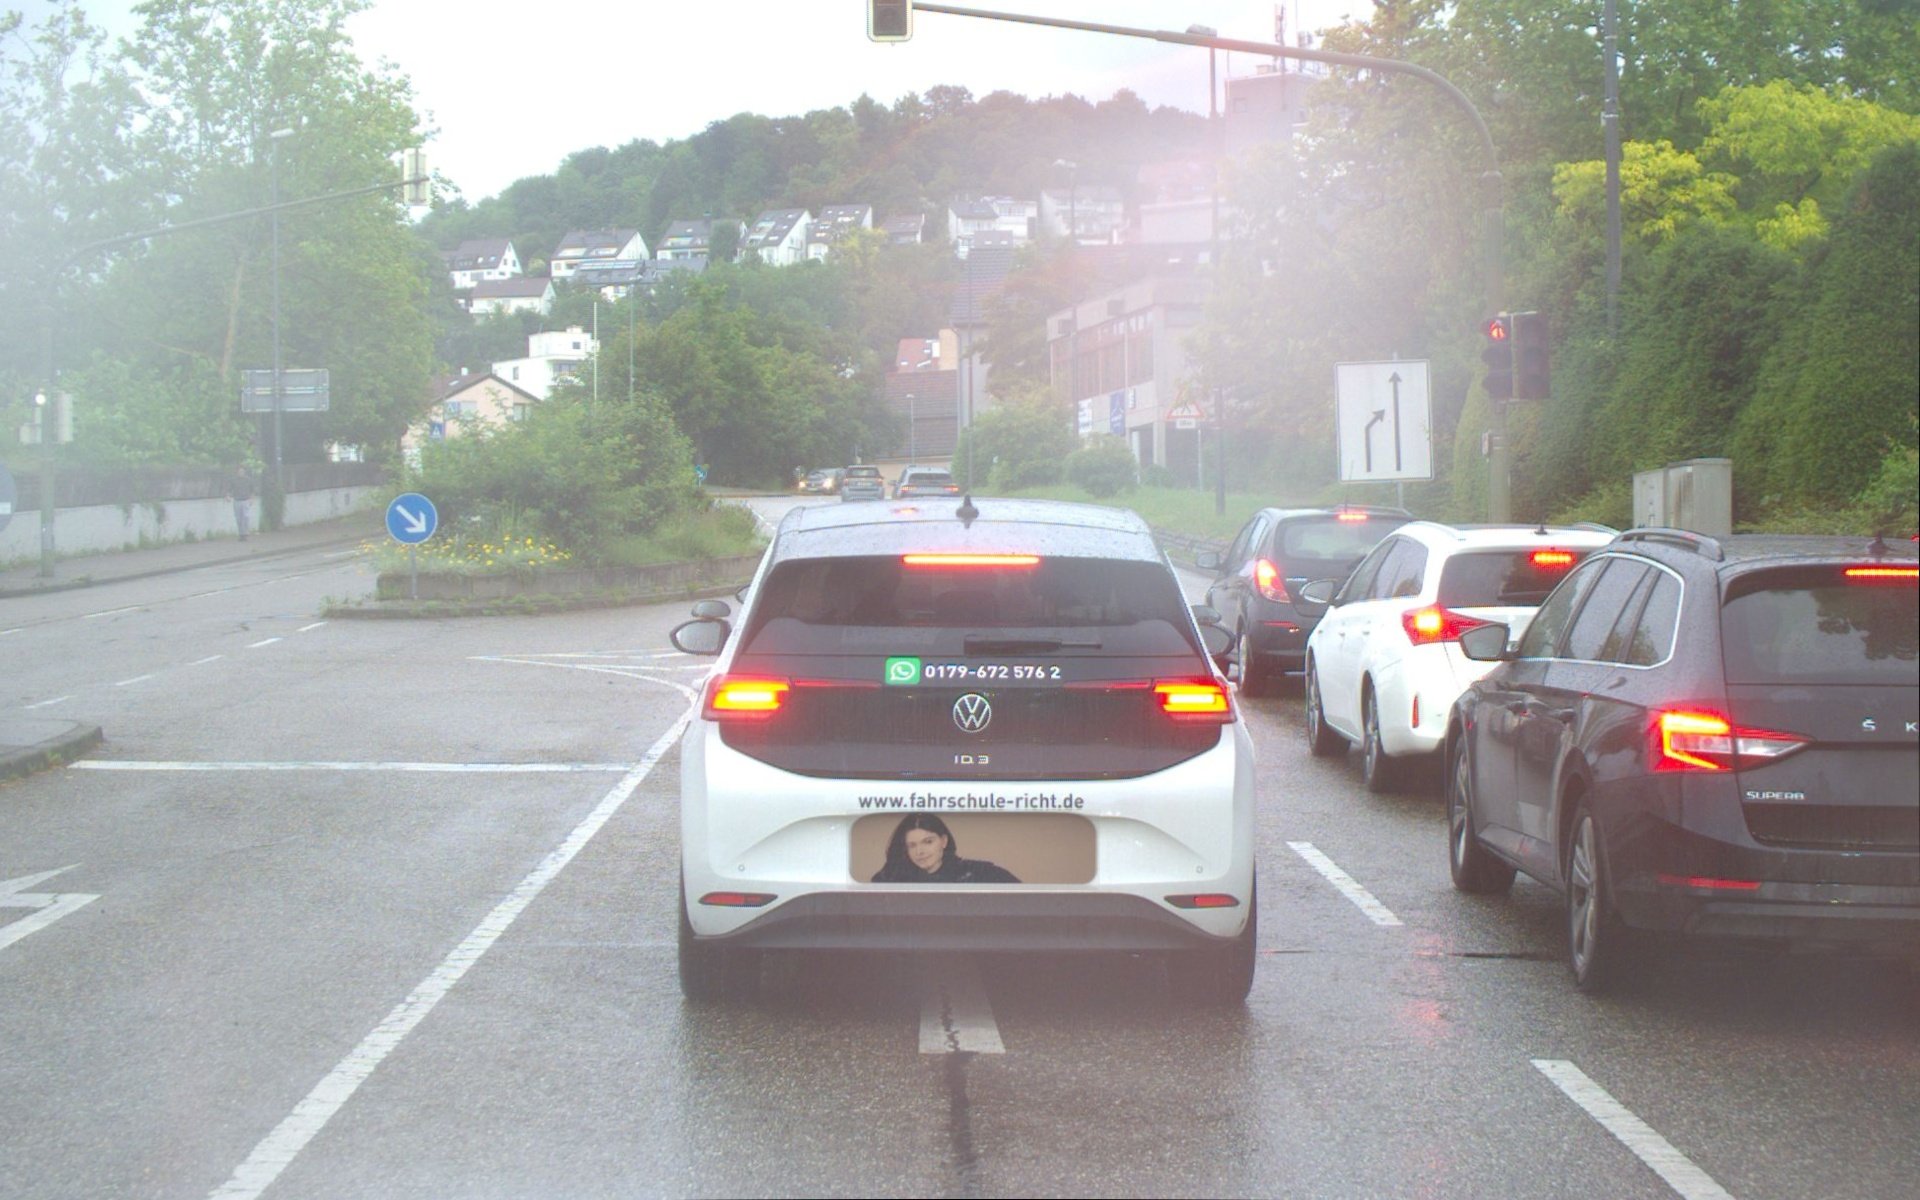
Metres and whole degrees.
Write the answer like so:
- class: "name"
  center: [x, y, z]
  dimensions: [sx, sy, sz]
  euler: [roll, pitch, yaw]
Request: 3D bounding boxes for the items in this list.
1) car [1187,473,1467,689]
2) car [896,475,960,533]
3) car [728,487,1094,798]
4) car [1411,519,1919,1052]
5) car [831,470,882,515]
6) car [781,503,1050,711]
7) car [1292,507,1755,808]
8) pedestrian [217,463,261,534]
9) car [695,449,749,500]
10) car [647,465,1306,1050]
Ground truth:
- class: "car"
  center: [2.883, -0.184, 27.770]
  dimensions: [1.775, 1.575, 4.000]
  euler: [1, 1, 0]
- class: "car"
  center: [-0.929, -2.777, 99.784]
  dimensions: [1.775, 1.575, 4.000]
  euler: [-2, 1, 0]
- class: "car"
  center: [-0.289, 0.153, 19.666]
  dimensions: [1.837, 1.549, 4.175]
  euler: [1, 2, -1]
- class: "car"
  center: [2.830, 0.492, 11.962]
  dimensions: [1.837, 1.461, 4.350]
  euler: [1, 2, -1]
- class: "car"
  center: [-3.864, -4.009, 128.760]
  dimensions: [1.775, 1.575, 4.000]
  euler: [-2, 1, 0]
- class: "car"
  center: [-0.345, -0.002, 25.885]
  dimensions: [1.837, 1.395, 3.831]
  euler: [1, 2, -1]
- class: "car"
  center: [3.049, 0.236, 19.455]
  dimensions: [1.837, 1.461, 4.117]
  euler: [1, 2, -1]
- class: "pedestrian"
  center: [-16.398, -2.310, 78.172]
  dimensions: [0.760, 1.562, 0.825]
  euler: [-2, 1, -1]
- class: "car"
  center: [-10.002, -5.256, 144.786]
  dimensions: [1.993, 2.007, 4.000]
  euler: [1, 0, 0]
- class: "car"
  center: [0.004, 0.376, 12.087]
  dimensions: [1.837, 1.623, 4.616]
  euler: [1, 2, -1]
